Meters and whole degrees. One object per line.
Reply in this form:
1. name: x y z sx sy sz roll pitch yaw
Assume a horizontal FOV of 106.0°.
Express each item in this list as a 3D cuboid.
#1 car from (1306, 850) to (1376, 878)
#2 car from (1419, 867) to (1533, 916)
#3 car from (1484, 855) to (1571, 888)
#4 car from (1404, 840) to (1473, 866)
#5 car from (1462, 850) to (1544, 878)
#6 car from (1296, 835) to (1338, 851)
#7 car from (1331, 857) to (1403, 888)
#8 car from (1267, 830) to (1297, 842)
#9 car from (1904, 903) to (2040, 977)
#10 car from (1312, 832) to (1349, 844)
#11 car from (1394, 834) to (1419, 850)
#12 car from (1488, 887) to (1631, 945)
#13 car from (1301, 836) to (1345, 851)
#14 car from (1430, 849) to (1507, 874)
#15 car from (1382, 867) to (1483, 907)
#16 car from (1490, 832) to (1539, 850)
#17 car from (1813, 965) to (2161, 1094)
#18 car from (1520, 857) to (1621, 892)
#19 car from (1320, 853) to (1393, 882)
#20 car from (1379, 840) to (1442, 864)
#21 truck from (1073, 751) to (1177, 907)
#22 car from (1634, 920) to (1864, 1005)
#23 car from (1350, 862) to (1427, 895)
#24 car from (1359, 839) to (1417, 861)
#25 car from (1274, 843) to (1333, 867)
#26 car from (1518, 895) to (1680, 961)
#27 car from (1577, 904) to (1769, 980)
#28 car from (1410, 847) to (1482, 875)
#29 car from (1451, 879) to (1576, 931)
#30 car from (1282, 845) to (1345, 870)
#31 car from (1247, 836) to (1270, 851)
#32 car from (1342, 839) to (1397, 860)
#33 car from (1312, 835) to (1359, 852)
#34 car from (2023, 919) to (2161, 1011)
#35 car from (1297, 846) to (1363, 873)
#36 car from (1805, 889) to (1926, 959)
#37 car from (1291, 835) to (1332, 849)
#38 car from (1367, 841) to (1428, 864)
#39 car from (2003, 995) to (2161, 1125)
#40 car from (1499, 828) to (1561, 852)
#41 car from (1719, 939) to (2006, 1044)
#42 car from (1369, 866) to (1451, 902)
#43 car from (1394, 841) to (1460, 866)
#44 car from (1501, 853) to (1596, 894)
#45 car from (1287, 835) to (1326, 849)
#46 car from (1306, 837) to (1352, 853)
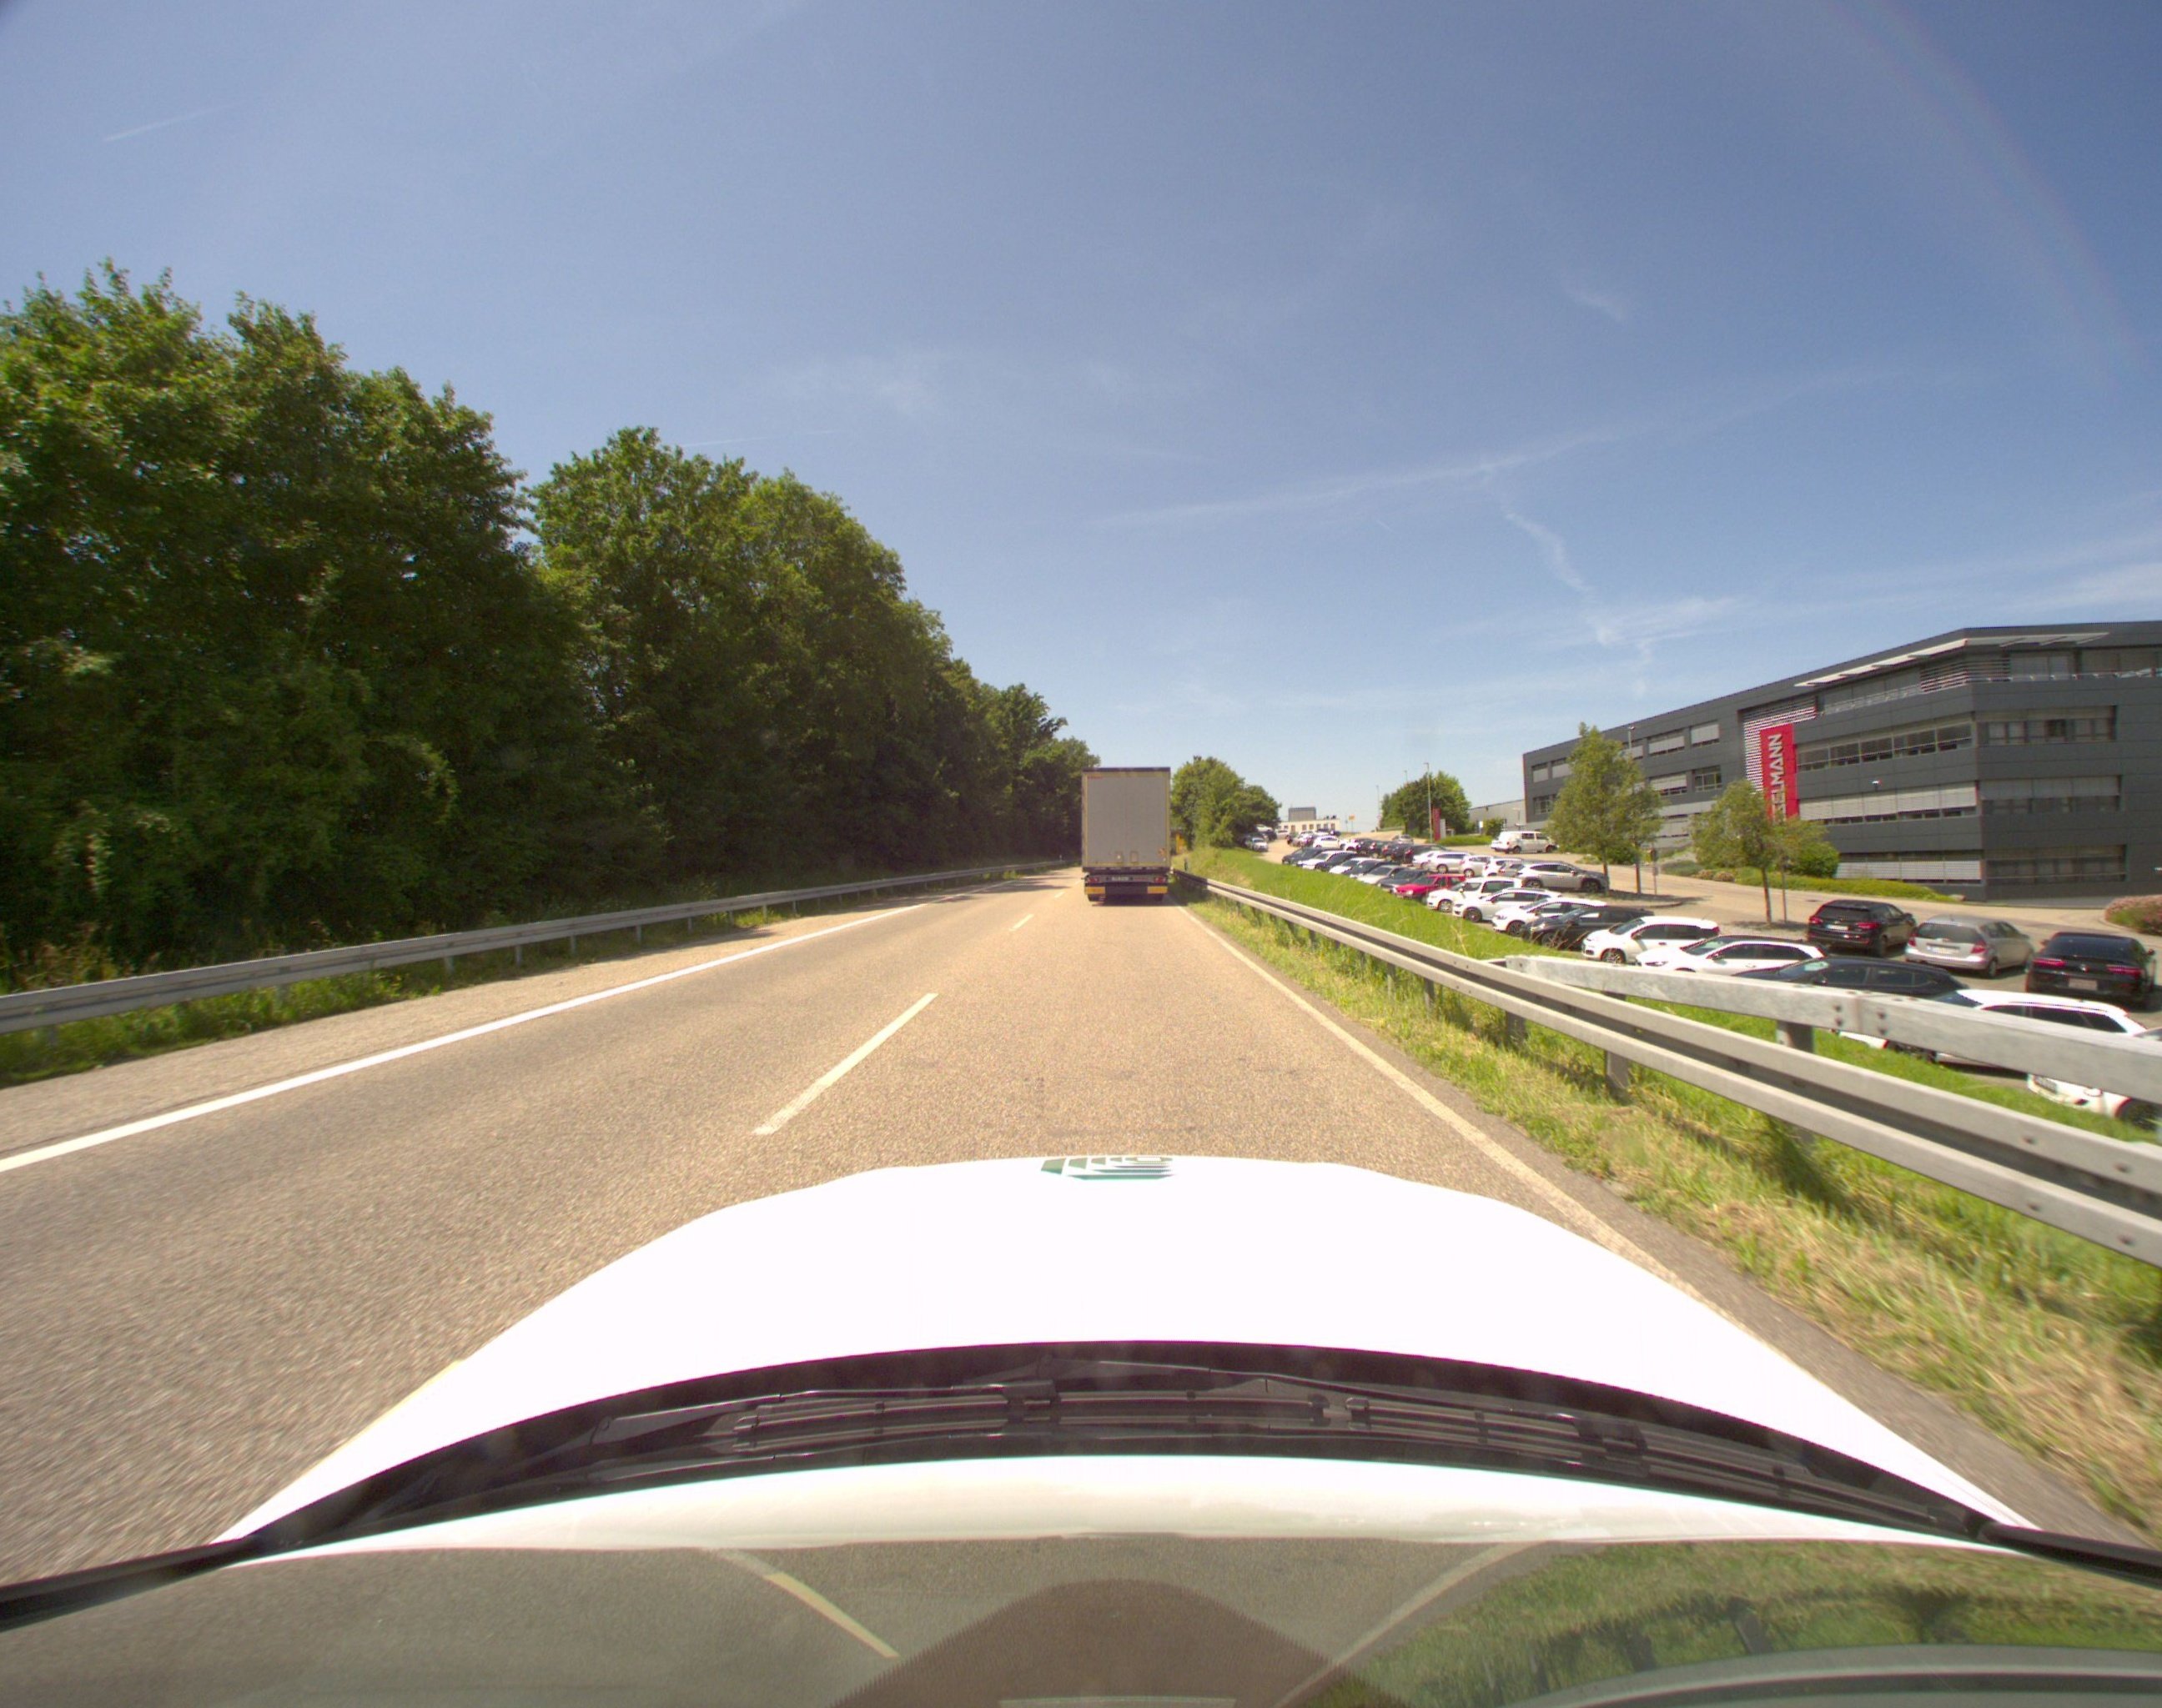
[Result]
1. car: 17.815 0.696 55.792 4.385 1.685 1.873 2 3 -26
2. car: 17.658 1.625 36.601 4.406 1.685 1.899 4 3 24
3. car: 26.985 1.038 49.318 4.529 1.627 1.833 1 7 27
4. car: 27.048 -0.101 61.703 4.530 1.628 1.832 5 3 29
5. car: 27.069 0.655 52.337 4.528 1.477 1.832 -3 3 27
6. car: 27.562 -1.326 95.135 4.532 1.628 1.831 2 3 23
7. car: 17.545 1.164 49.843 4.395 1.685 1.869 2 3 -35
8. car: 31.674 -2.872 128.247 4.386 1.685 1.873 -2 4 -26
9. car: 26.702 2.493 24.369 4.602 1.539 1.803 -2 5 -31
10. car: 34.689 -2.288 113.391 4.527 1.629 1.832 1 0 37
11. car: 34.903 -1.286 87.505 1.795 1.662 4.013 1 0 11
12. car: 17.533 2.230 30.119 4.324 1.559 1.899 5 3 26
13. car: 27.342 -1.151 91.907 4.531 1.628 1.831 0 1 23
14. car: 26.496 0.484 55.734 4.527 1.519 1.833 0 5 33
15. car: 17.256 1.630 40.029 4.377 1.685 1.876 2 3 -20
16. car: 40.494 -1.234 76.079 3.646 1.588 1.686 -2 2 2
17. car: 17.161 3.230 15.570 4.323 1.394 1.830 5 3 29
18. car: 26.052 1.056 43.551 4.529 1.628 1.832 0 4 27
19. car: 17.965 0.881 53.082 4.385 1.685 1.873 2 3 -26
20. car: 27.073 -0.192 66.951 4.530 1.628 1.832 5 3 29
21. truck: 1.442 -0.731 27.870 2.855 4.359 9.794 -1 0 2
22. car: 17.428 2.780 21.544 4.324 1.456 1.829 5 3 26
23. car: 17.633 1.395 46.611 4.395 1.685 1.869 2 3 -35
24. car: 27.307 -0.342 72.564 4.530 1.628 1.832 5 3 29
25. car: 17.810 0.102 65.117 4.385 1.685 1.873 2 3 -26
26. car: 17.298 2.420 27.481 4.324 1.559 1.899 5 3 26
27. car: 17.551 2.554 24.448 4.324 1.559 1.873 5 3 26
28. car: 26.423 0.475 59.041 4.530 1.628 1.832 5 3 29
29. car: 17.752 2.026 33.488 4.322 1.559 1.900 5 3 31
30. car: 17.660 0.278 61.855 4.385 1.685 1.873 2 3 -26
31. car: 19.820 -1.186 90.922 1.620 1.353 3.710 3 3 -1
32. car: 27.184 -0.442 76.775 4.530 1.628 1.832 5 3 29
33. car: 26.940 -1.147 86.155 4.532 1.628 1.831 2 2 23
34. car: 26.010 2.732 20.877 4.605 1.513 1.802 -3 5 -34
35. car: 18.069 0.386 59.091 4.385 1.685 1.873 2 3 -26
36. car: 26.103 2.253 27.077 4.256 1.628 1.803 -4 6 -31
37. car: 27.772 -1.458 98.156 4.531 1.629 1.830 0 -1 23
38. car: 27.017 -0.161 69.550 4.530 1.628 1.832 5 3 29
39. car: 17.474 3.351 12.440 4.076 1.517 1.689 5 3 25
40. car: 39.967 -1.241 72.600 4.553 1.949 1.822 -2 2 2
41. car: 17.505 3.016 18.584 4.323 1.456 1.830 5 3 29
42. car: 17.566 1.582 43.456 4.395 1.685 1.869 2 3 -35
43. car: 27.230 -0.052 64.125 4.530 1.628 1.832 5 3 29
44. car: 26.613 1.077 46.574 4.530 1.627 1.833 5 11 27
45. car: 27.956 -1.475 100.975 4.531 1.629 1.830 1 0 23
46. car: 27.057 -0.966 88.823 4.532 1.628 1.831 2 2 23
